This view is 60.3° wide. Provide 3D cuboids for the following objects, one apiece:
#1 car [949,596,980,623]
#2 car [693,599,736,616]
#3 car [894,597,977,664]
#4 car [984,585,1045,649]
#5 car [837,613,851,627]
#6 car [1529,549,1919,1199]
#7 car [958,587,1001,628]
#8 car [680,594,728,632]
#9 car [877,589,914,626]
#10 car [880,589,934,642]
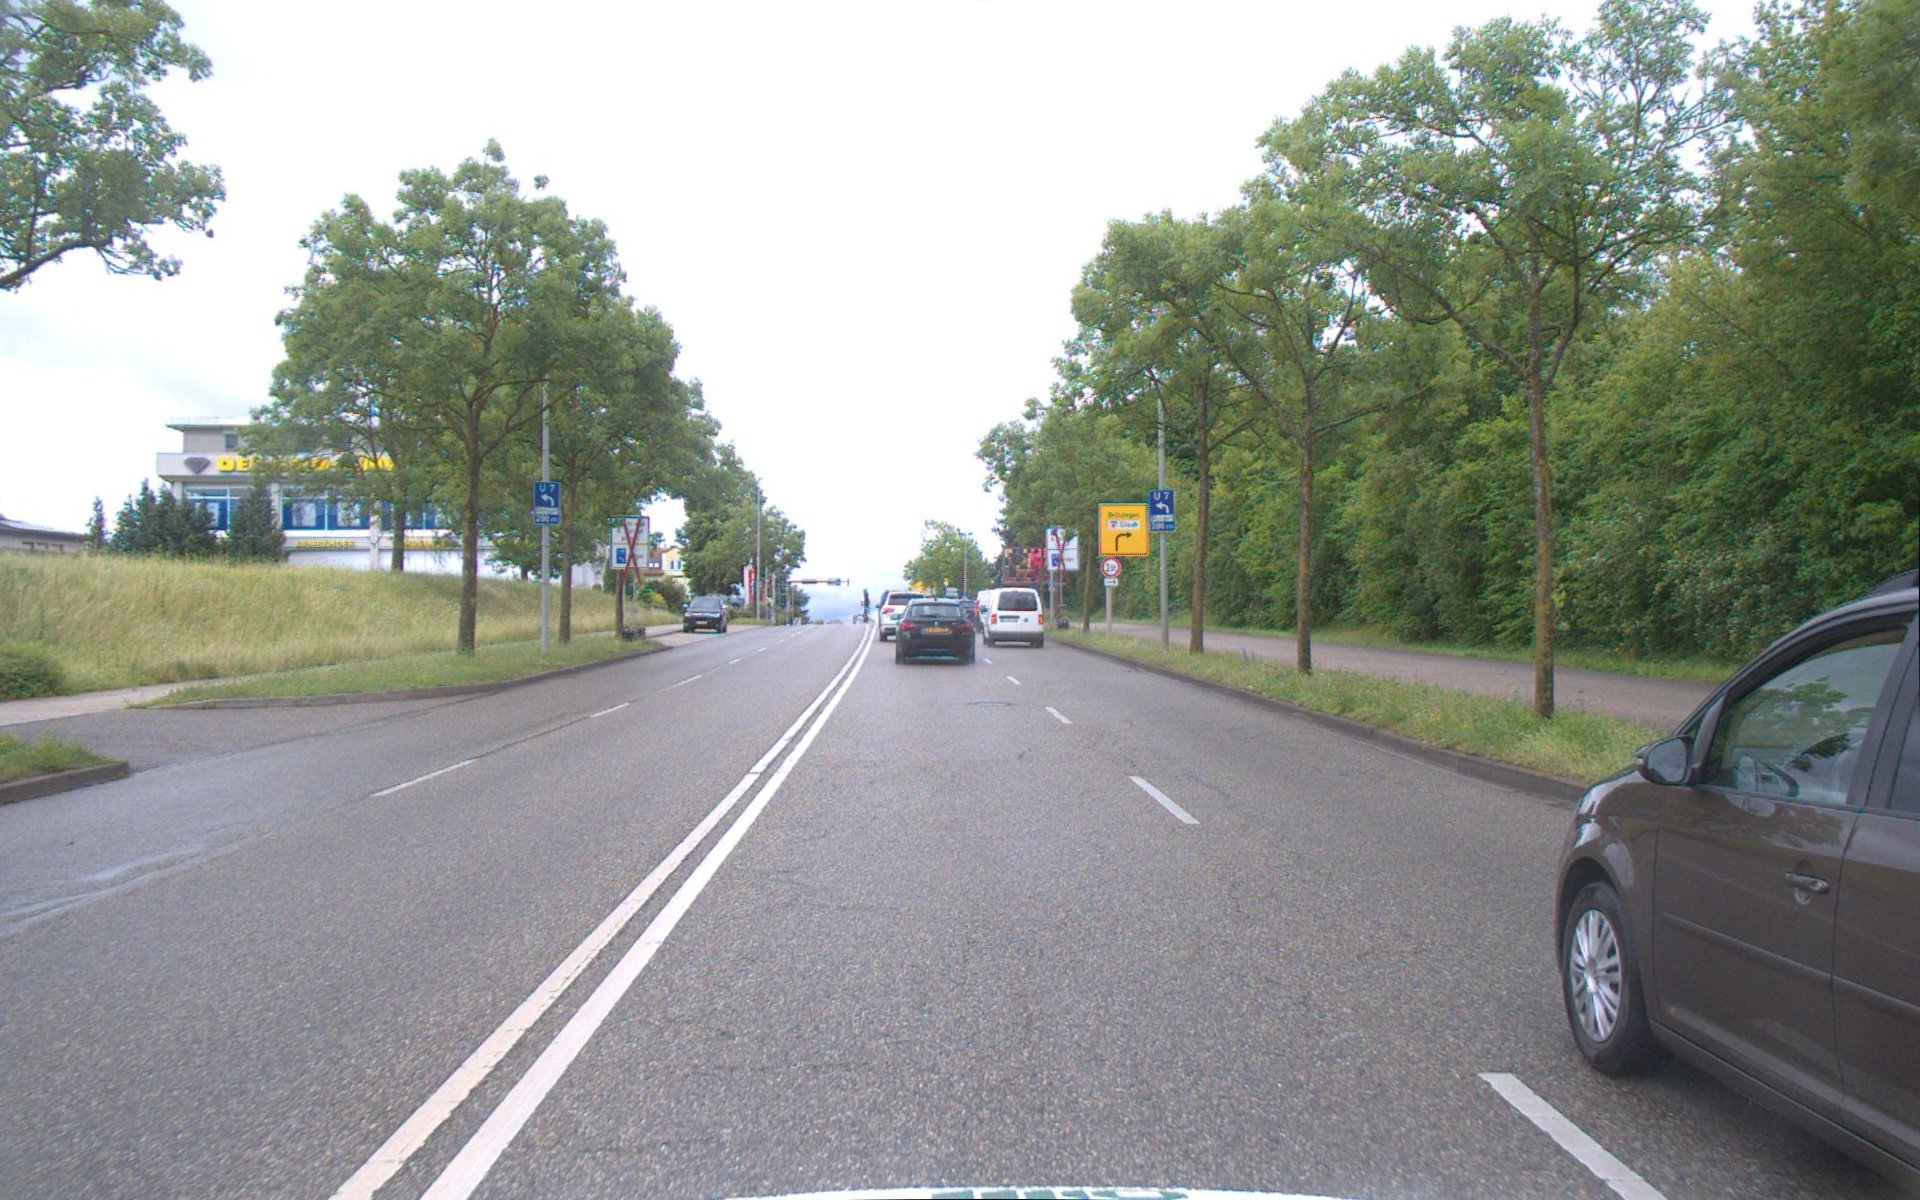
[{"bbox_3d":[0.222,0.506,88.705,1.568,1.396,3.679,-1,0,-1],"label":"car"},{"bbox_3d":[-22.082,0.679,148.819,3.757,1.508,1.737,0,-1,-10],"label":"car"},{"bbox_3d":[-0.558,0.682,38.689,1.817,1.444,3.956,1,0,0],"label":"car"},{"bbox_3d":[1.671,0.516,51.906,1.706,1.902,3.945,1,0,-1],"label":"car"},{"bbox_3d":[-14.486,2.460,206.361,1.760,1.611,4.195,-1,0,-4],"label":"car"},{"bbox_3d":[2.977,0.707,4.004,1.679,1.624,4.129,0,0,-2],"label":"car"},{"bbox_3d":[0.846,0.336,73.438,1.777,1.738,3.945,0,0,-1],"label":"car"},{"bbox_3d":[-11.971,0.609,77.550,1.691,1.697,4.485,1,0,-3],"label":"car"},{"bbox_3d":[-3.174,0.357,81.451,1.722,1.738,3.945,0,0,-1],"label":"car"},{"bbox_3d":[-1.770,0.507,56.438,1.693,1.741,3.382,1,0,0],"label":"car"}]
